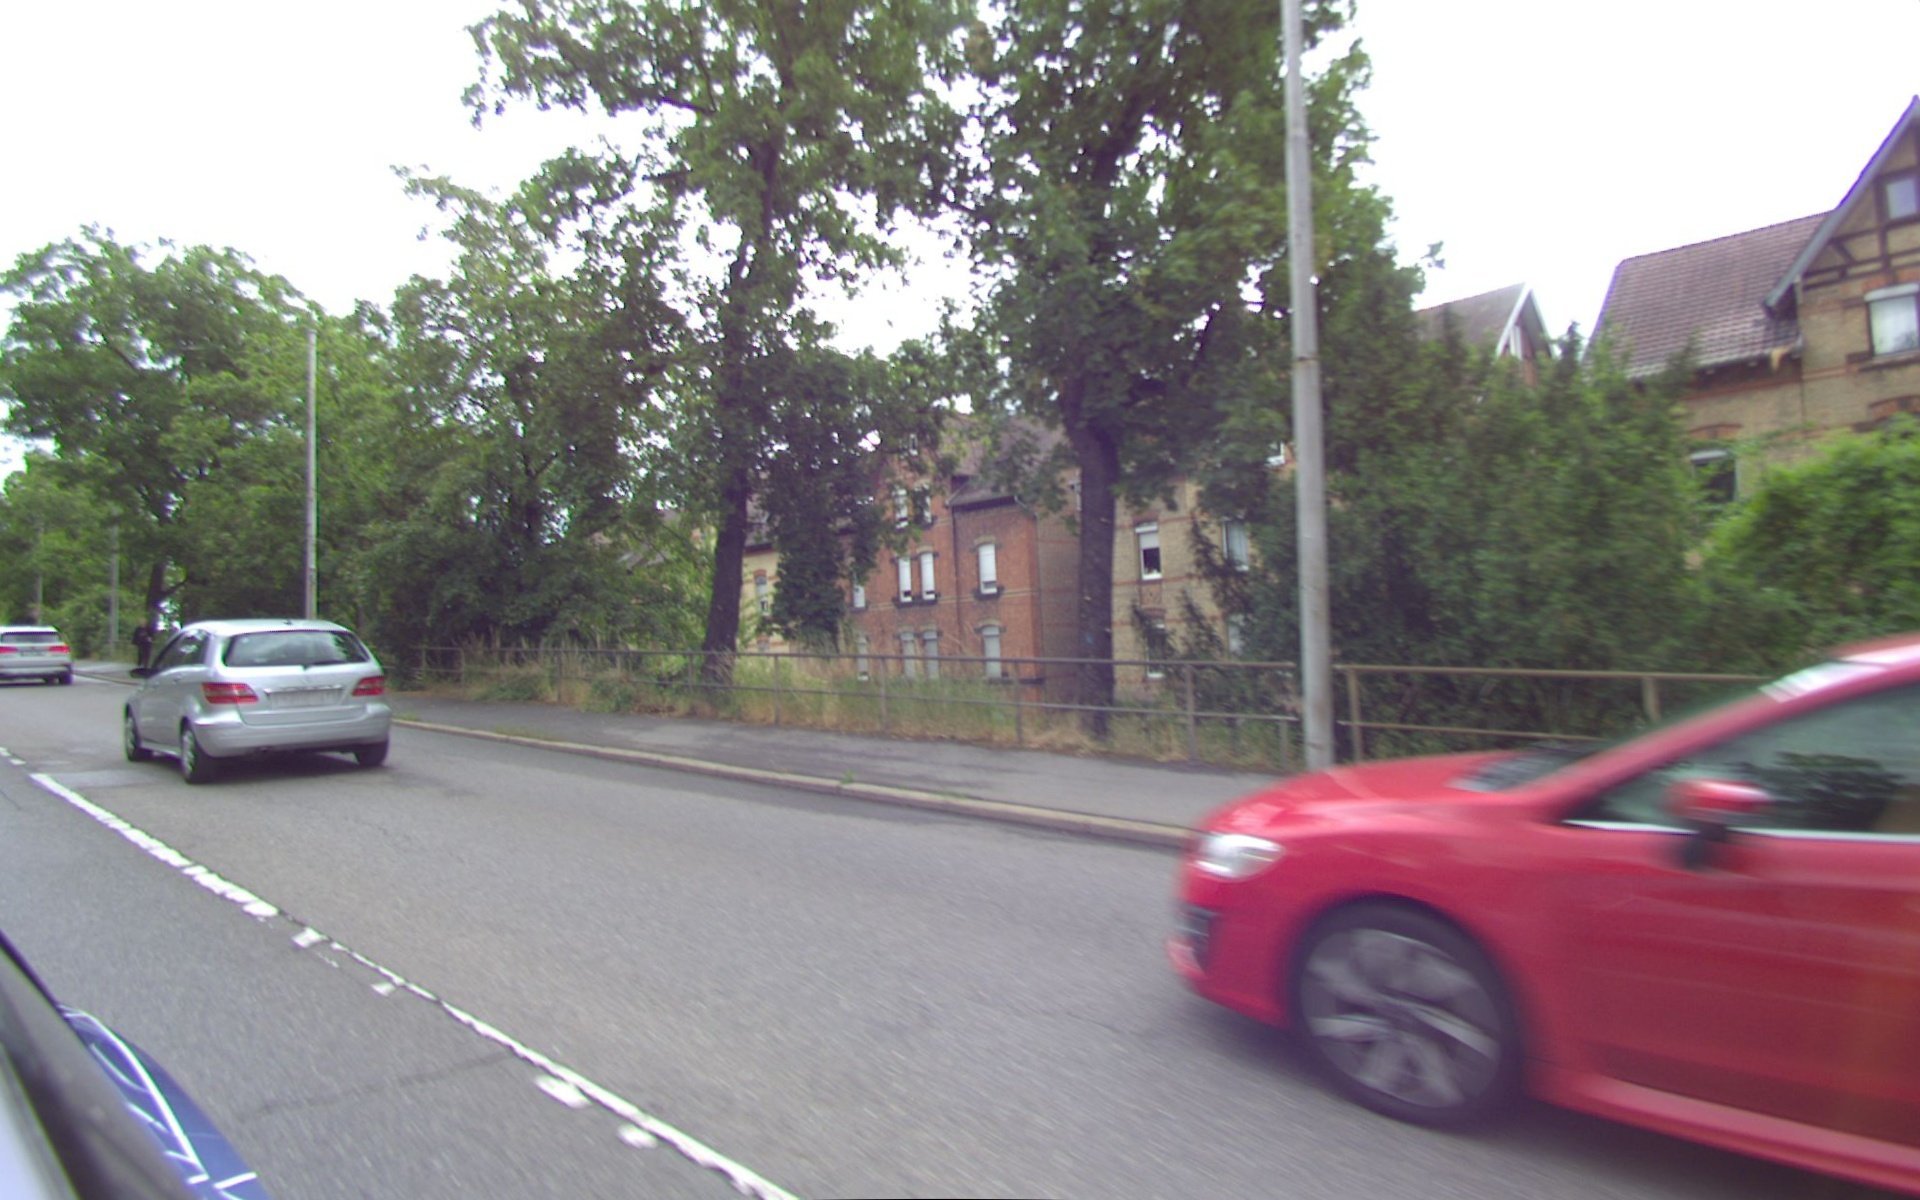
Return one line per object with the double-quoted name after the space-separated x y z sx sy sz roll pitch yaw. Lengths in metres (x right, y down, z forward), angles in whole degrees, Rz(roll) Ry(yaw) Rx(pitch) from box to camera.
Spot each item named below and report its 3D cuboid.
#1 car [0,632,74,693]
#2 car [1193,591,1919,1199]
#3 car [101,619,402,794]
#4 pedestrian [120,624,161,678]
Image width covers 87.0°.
-28.218 1.847 30.310 4.661 1.696 1.974 -3 -3 42 "car"
3.012 0.716 2.525 4.426 1.470 1.765 -2 -2 41 "car"
-8.012 1.041 11.296 4.278 1.586 1.765 -2 -2 41 "car"
-28.318 1.756 34.975 1.207 1.787 0.781 -3 1 39 "pedestrian"
